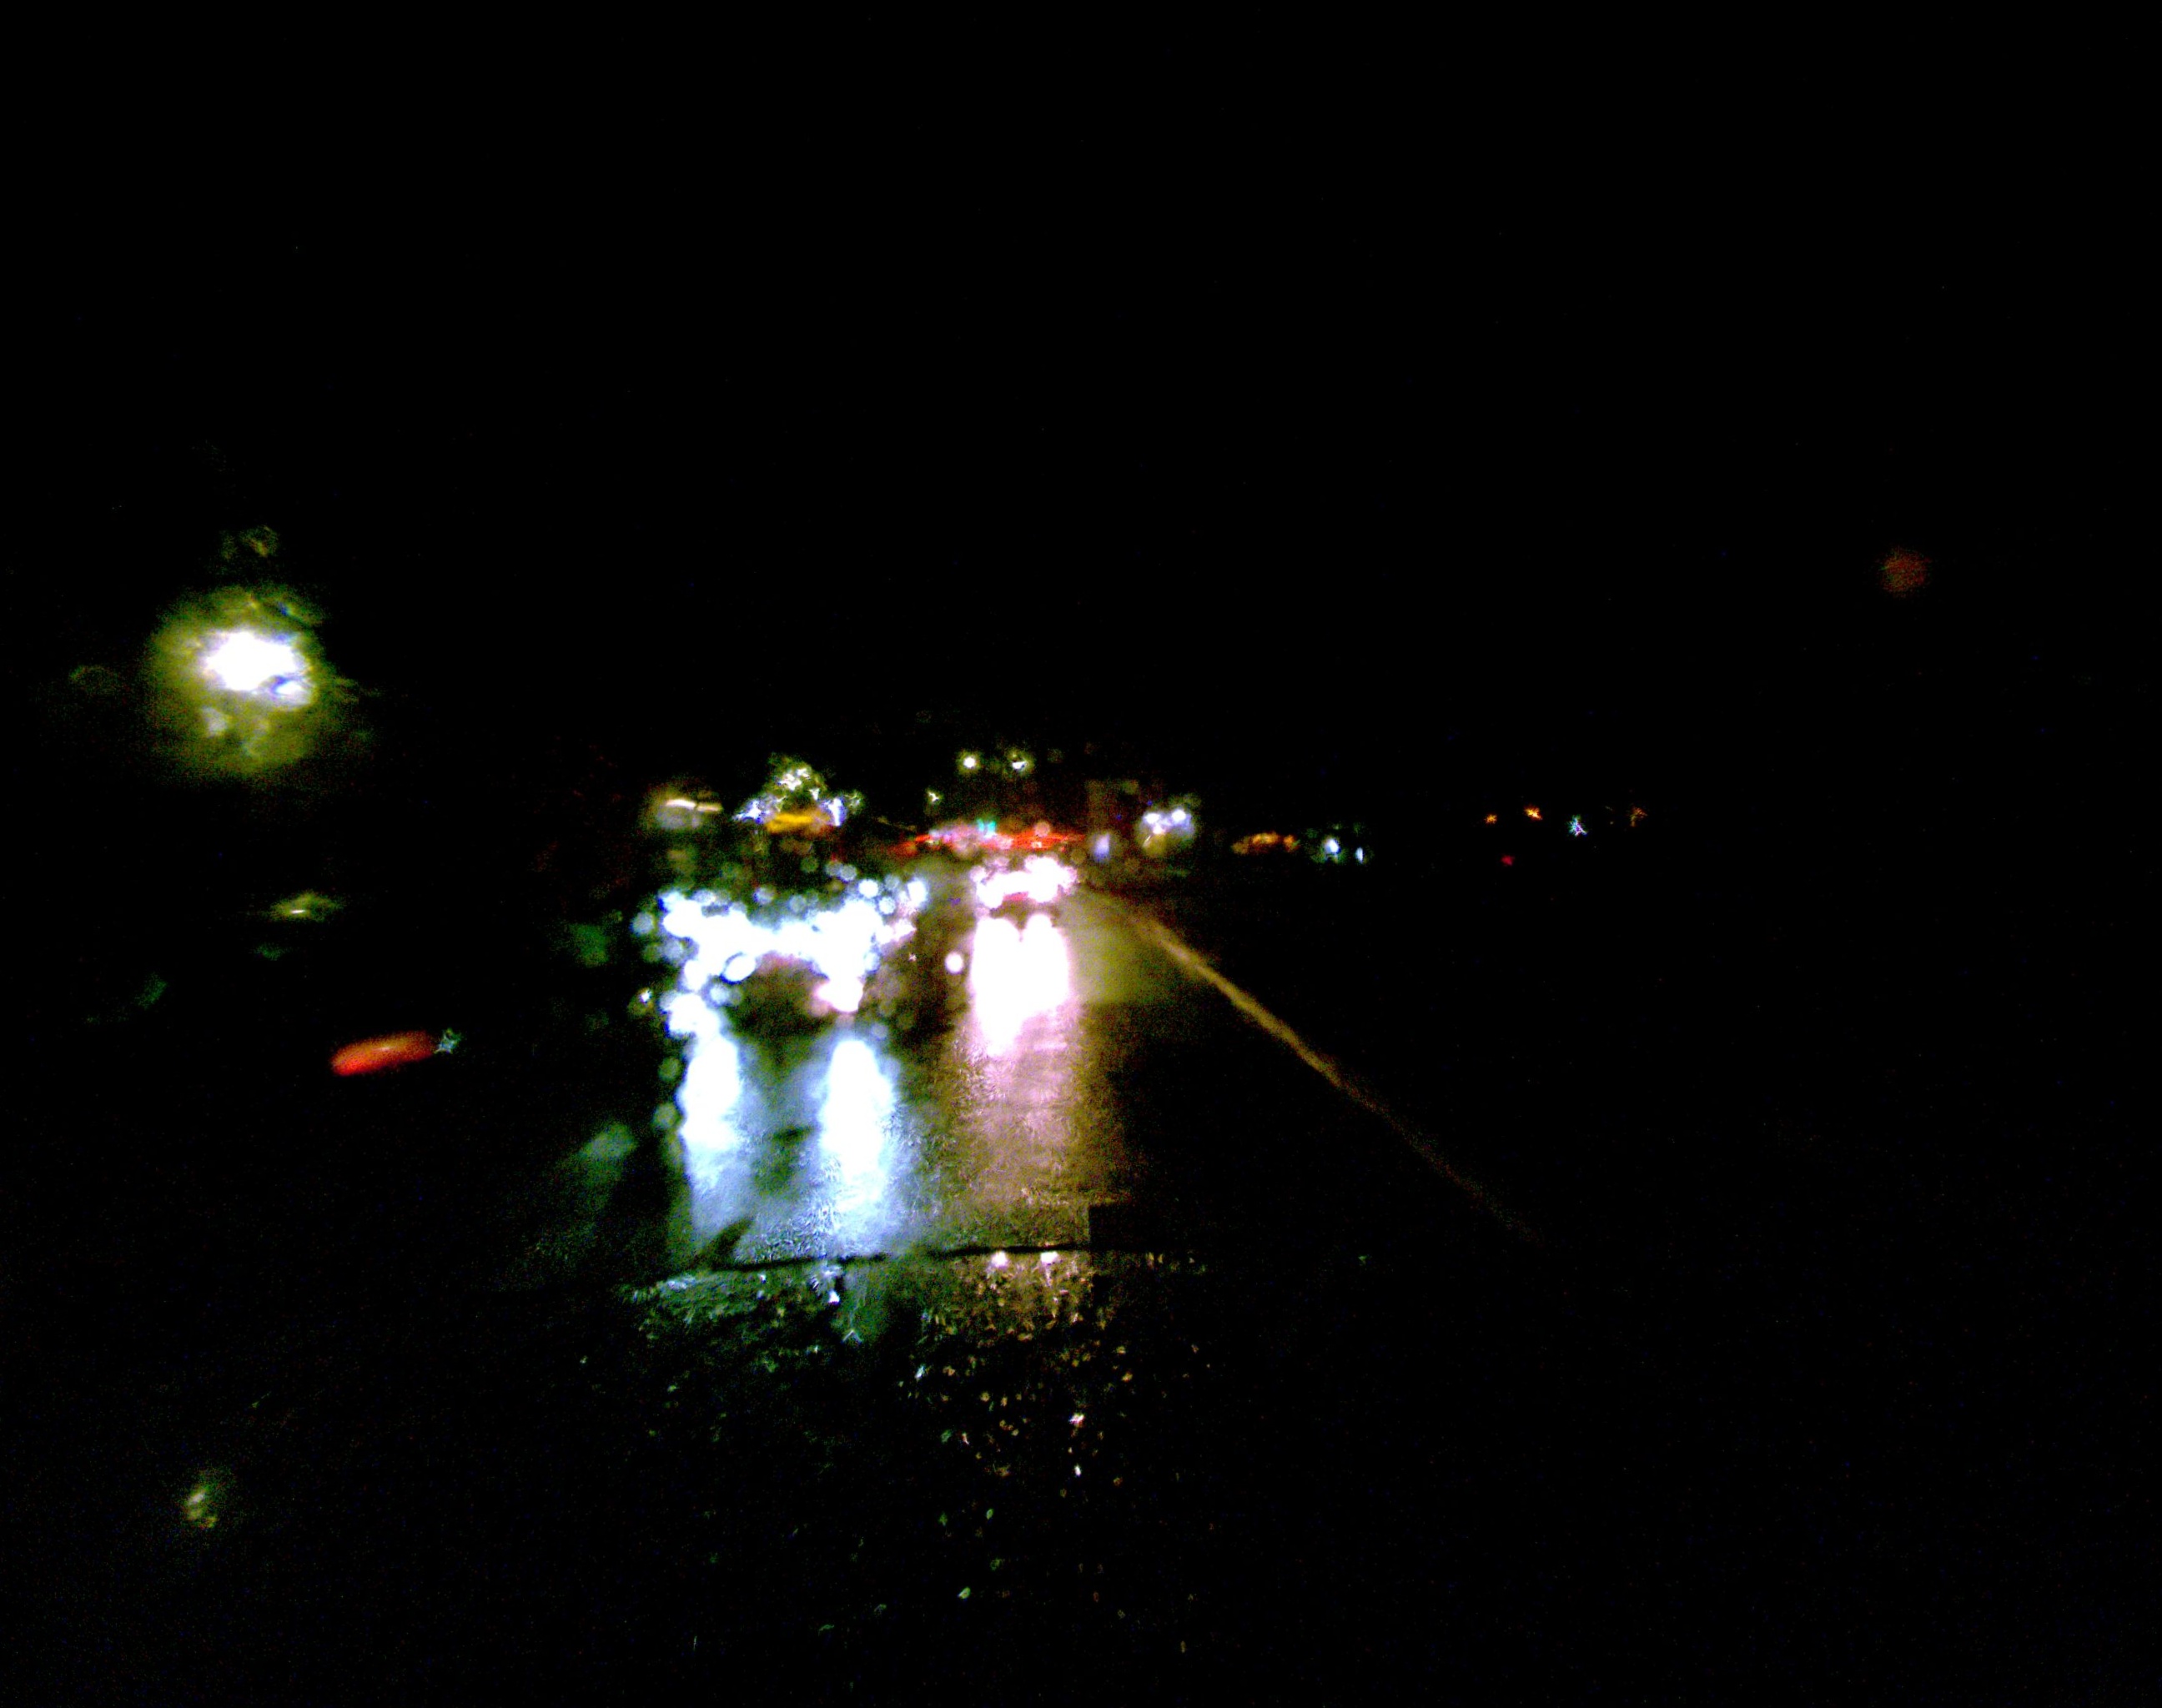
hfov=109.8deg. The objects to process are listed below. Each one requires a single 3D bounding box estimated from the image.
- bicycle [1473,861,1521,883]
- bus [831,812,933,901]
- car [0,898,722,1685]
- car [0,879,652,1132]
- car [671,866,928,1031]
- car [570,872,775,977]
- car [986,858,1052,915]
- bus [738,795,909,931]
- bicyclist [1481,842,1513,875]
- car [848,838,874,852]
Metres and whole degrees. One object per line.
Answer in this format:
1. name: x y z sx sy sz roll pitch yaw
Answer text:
1. bicycle: 18.179 0.757 33.234 0.628 0.899 2.211 0 1 -9
2. bus: -8.324 0.041 33.087 2.742 3.219 9.693 -2 1 -6
3. car: -3.169 1.041 2.782 1.724 1.438 4.161 -1 1 0
4. car: -6.450 1.100 7.499 1.724 1.478 4.786 -1 1 0
5. car: -3.330 1.008 9.951 1.724 1.478 4.161 -4 1 0
6. car: -7.152 1.145 13.849 1.725 1.478 4.160 0 1 -4
7. car: -1.877 0.865 22.139 1.756 1.438 3.970 0 1 -7
8. bus: -7.386 0.159 23.445 2.742 3.258 9.693 -2 1 -6
9. bicyclist: 18.169 0.183 33.230 0.629 1.427 1.187 0 1 -9
10. car: -23.743 -0.933 81.953 1.712 1.382 3.990 -2 1 -32
